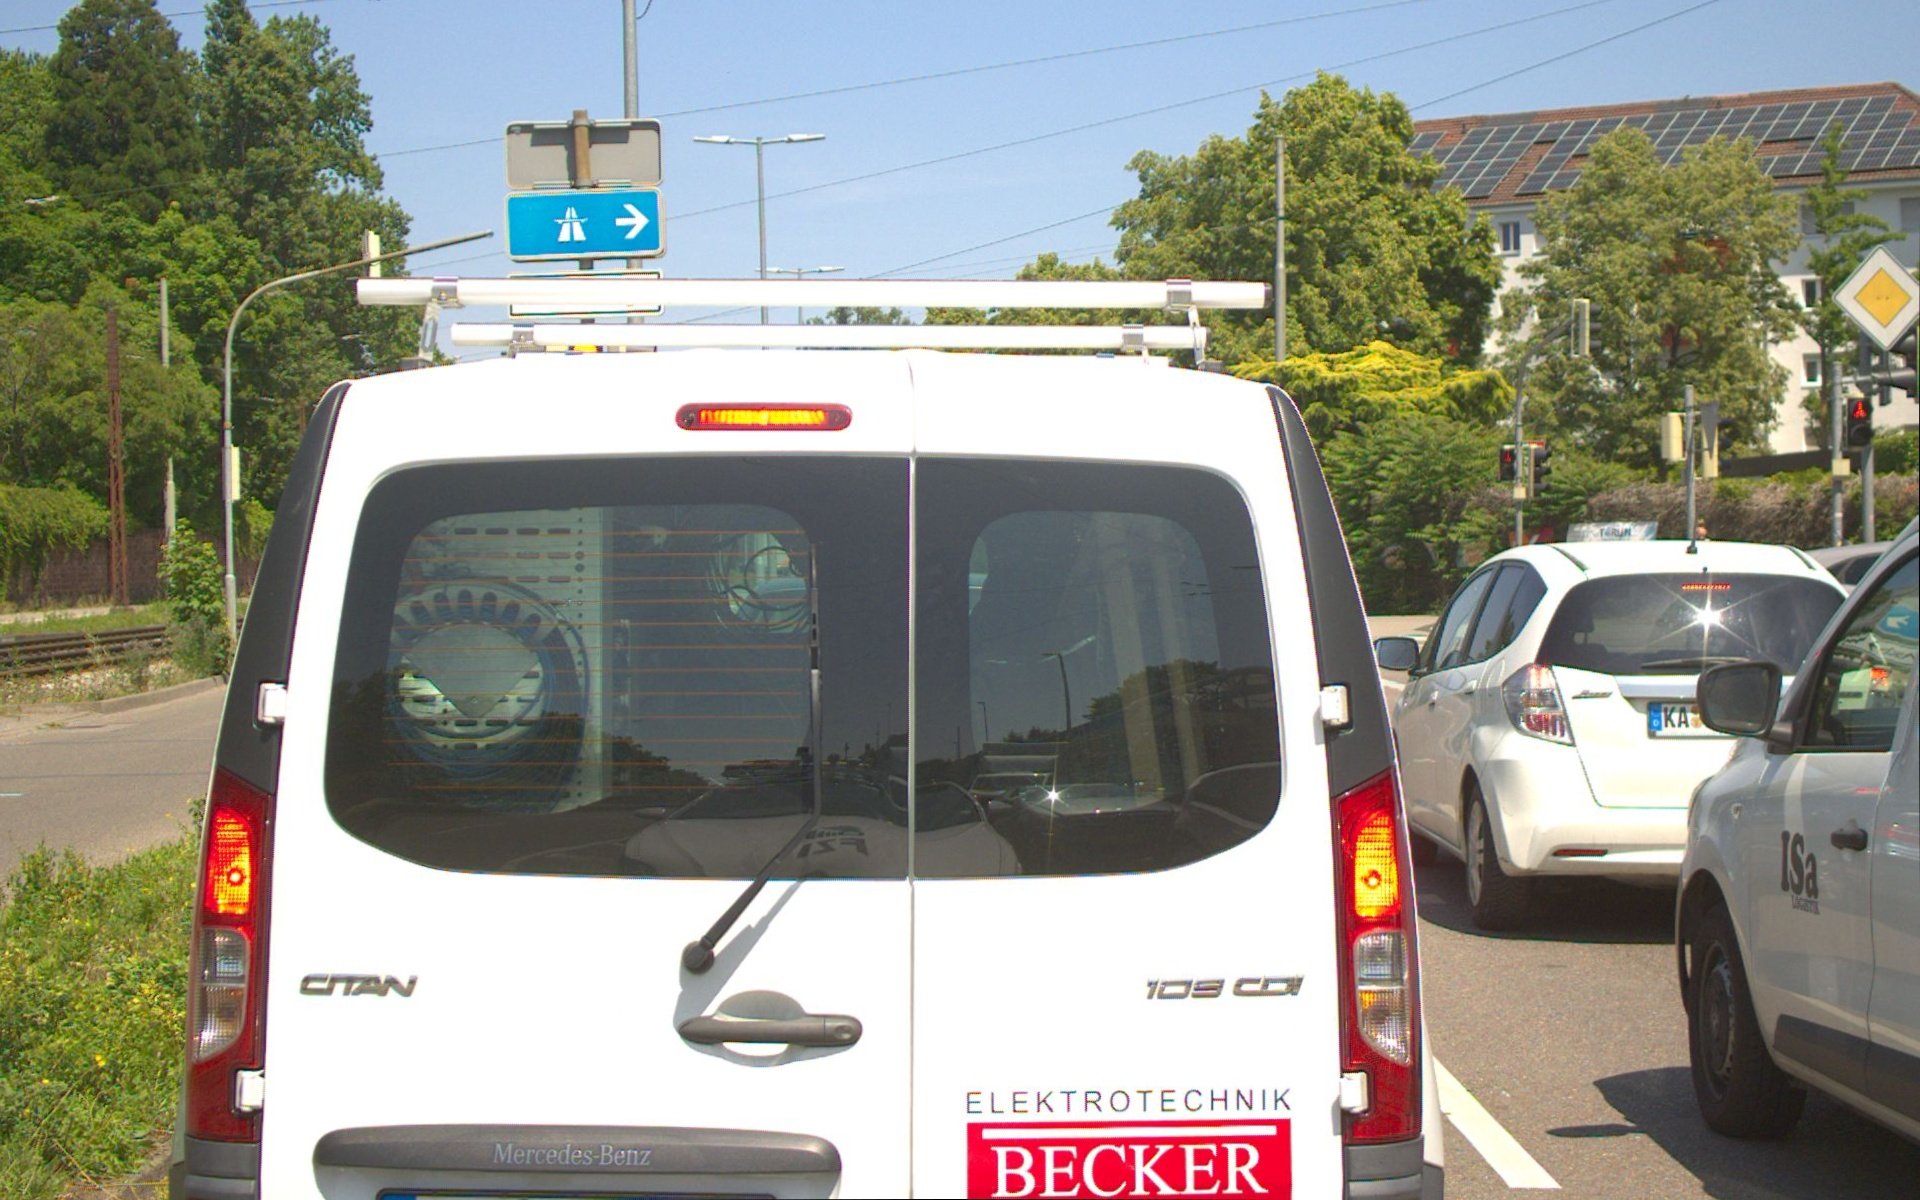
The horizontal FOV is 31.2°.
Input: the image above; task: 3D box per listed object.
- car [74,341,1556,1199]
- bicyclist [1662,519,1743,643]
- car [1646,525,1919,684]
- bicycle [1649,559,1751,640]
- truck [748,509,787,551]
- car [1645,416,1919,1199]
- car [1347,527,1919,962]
[{"bbox_3d":[-0.206,0.525,6.447,1.821,1.734,4.396,1,1,-1],"label":"car"},{"bbox_3d":[10.829,-0.281,50.168,0.973,1.782,0.726,0,0,-5],"label":"bicyclist"},{"bbox_3d":[8.982,0.035,33.972,3.993,1.514,1.750,0,0,27],"label":"car"},{"bbox_3d":[10.791,-0.014,50.193,0.892,1.155,1.956,0,1,-6],"label":"bicycle"},{"bbox_3d":[-12.224,-4.432,218.440,2.139,2.579,5.890,1,1,-1],"label":"truck"},{"bbox_3d":[2.780,0.527,7.266,1.727,1.782,4.065,1,1,-2],"label":"car"},{"bbox_3d":[2.824,0.491,14.622,1.835,1.563,4.000,1,1,-1],"label":"car"}]
